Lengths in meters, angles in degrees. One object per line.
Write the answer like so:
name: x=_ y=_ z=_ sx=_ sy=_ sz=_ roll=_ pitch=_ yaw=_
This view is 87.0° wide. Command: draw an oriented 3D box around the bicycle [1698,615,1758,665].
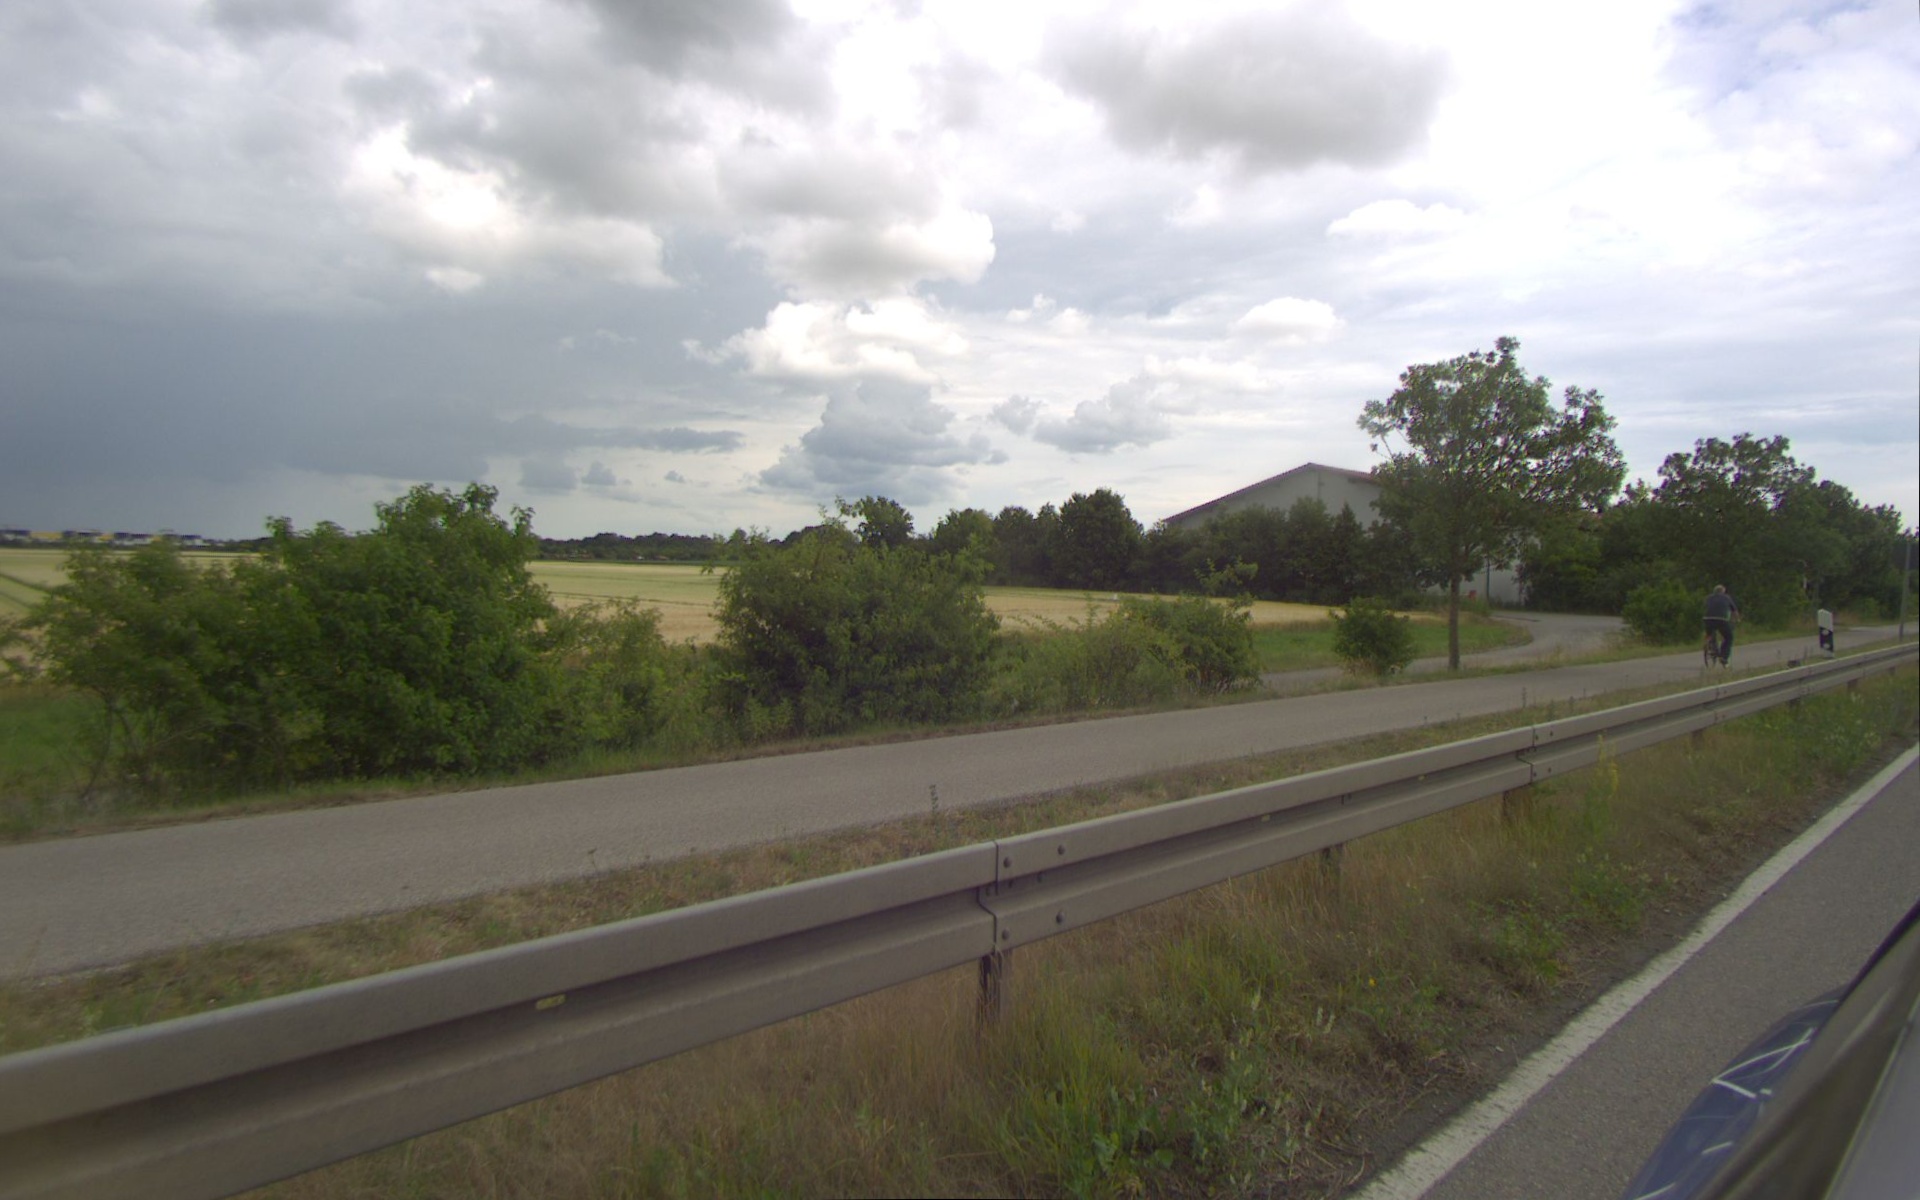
bicycle: x=16.816 y=0.862 z=22.144 sx=2.036 sy=0.990 sz=0.640 roll=0 pitch=2 yaw=-41

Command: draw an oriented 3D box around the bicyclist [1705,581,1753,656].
bicyclist: x=16.811 y=0.390 z=22.122 sx=0.952 sy=1.602 sz=0.640 roll=0 pitch=1 yaw=-41
